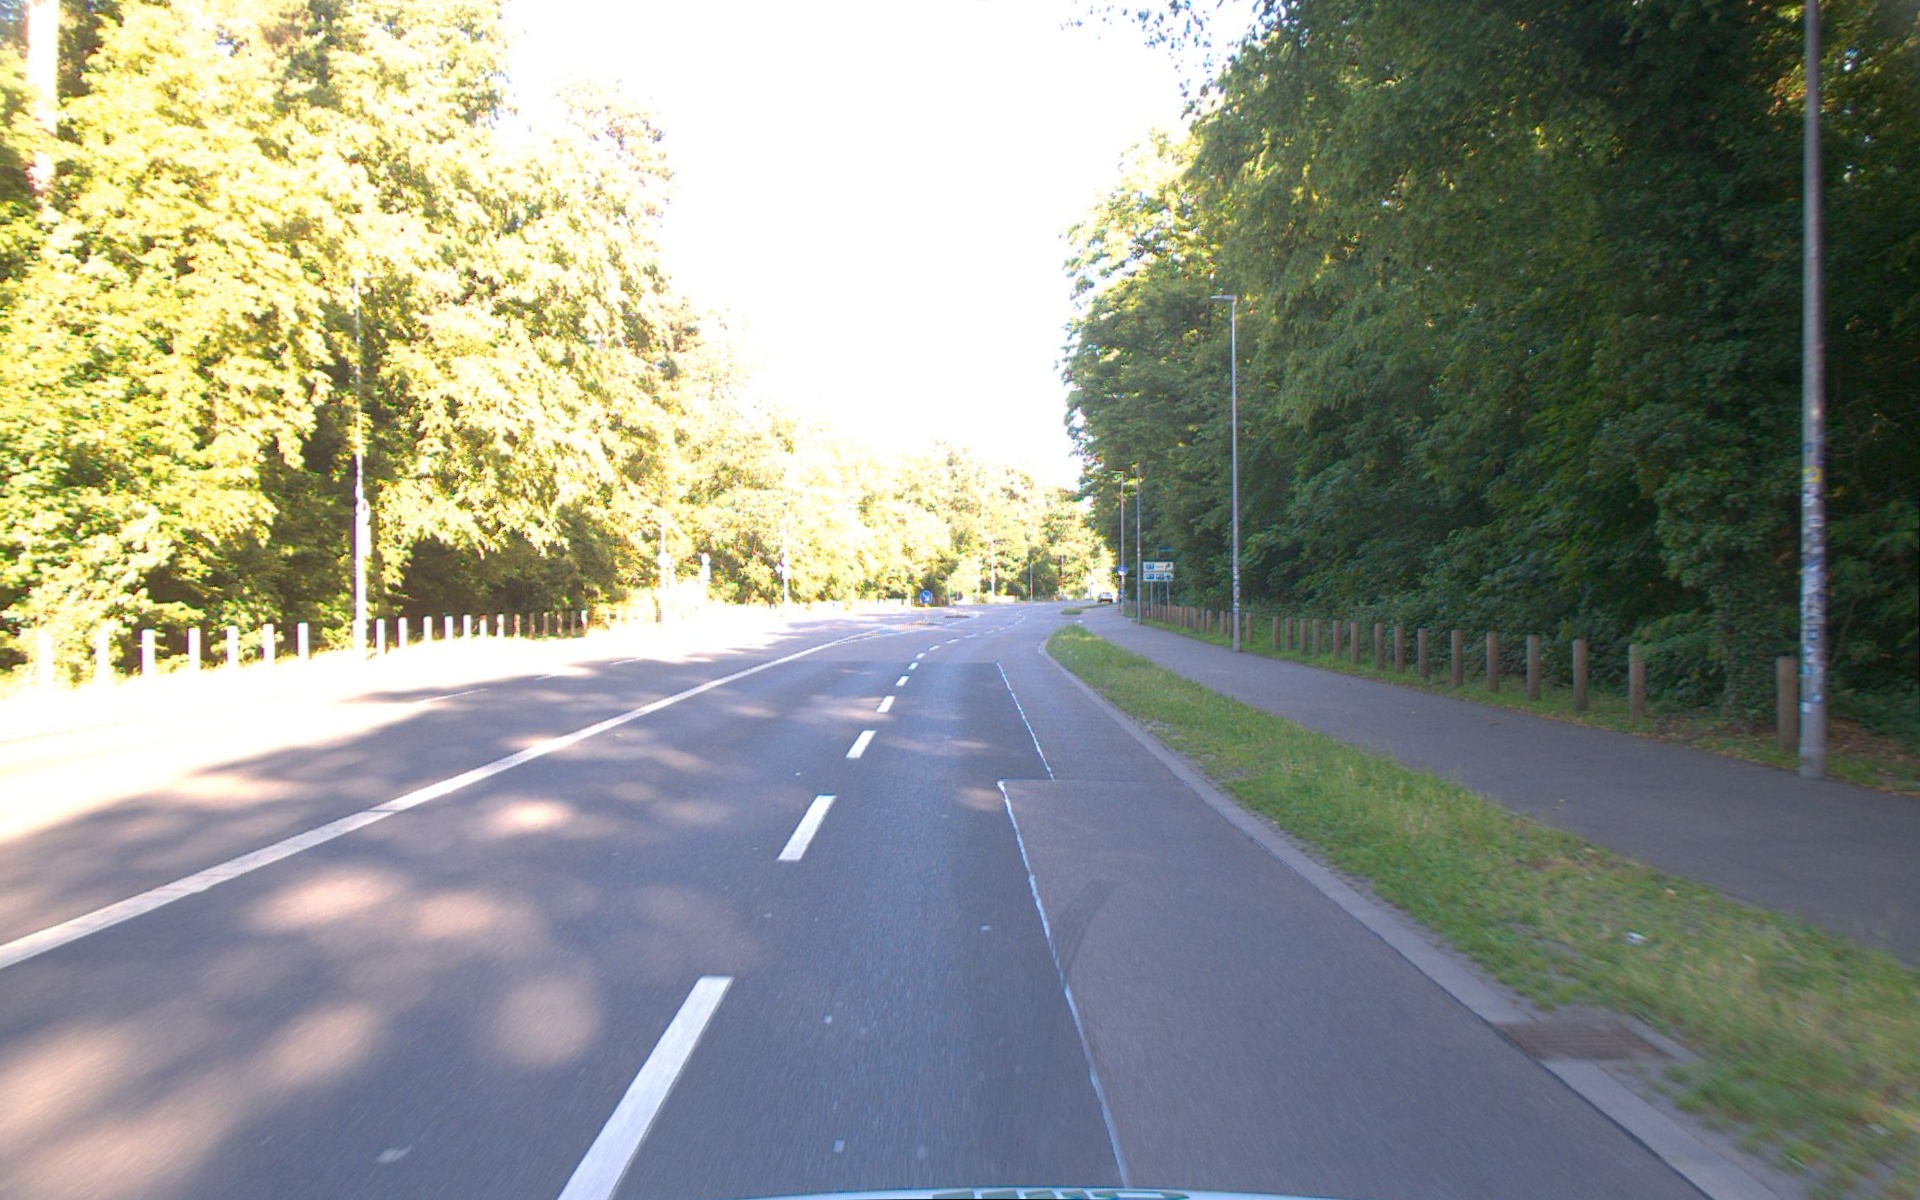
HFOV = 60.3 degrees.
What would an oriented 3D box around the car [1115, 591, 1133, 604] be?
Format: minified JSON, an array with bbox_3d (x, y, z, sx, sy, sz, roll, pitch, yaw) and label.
[{"bbox_3d":[23.493,-0.394,236.862,1.840,1.796,4.003,-1,0,16],"label":"car"}]

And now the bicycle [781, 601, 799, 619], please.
[{"bbox_3d":[-10.706,0.633,104.121,0.392,1.152,2.221,1,0,13],"label":"bicycle"}]

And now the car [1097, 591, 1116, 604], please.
[{"bbox_3d":[19.858,-0.347,224.288,1.840,1.739,4.003,-1,0,16],"label":"car"}]
